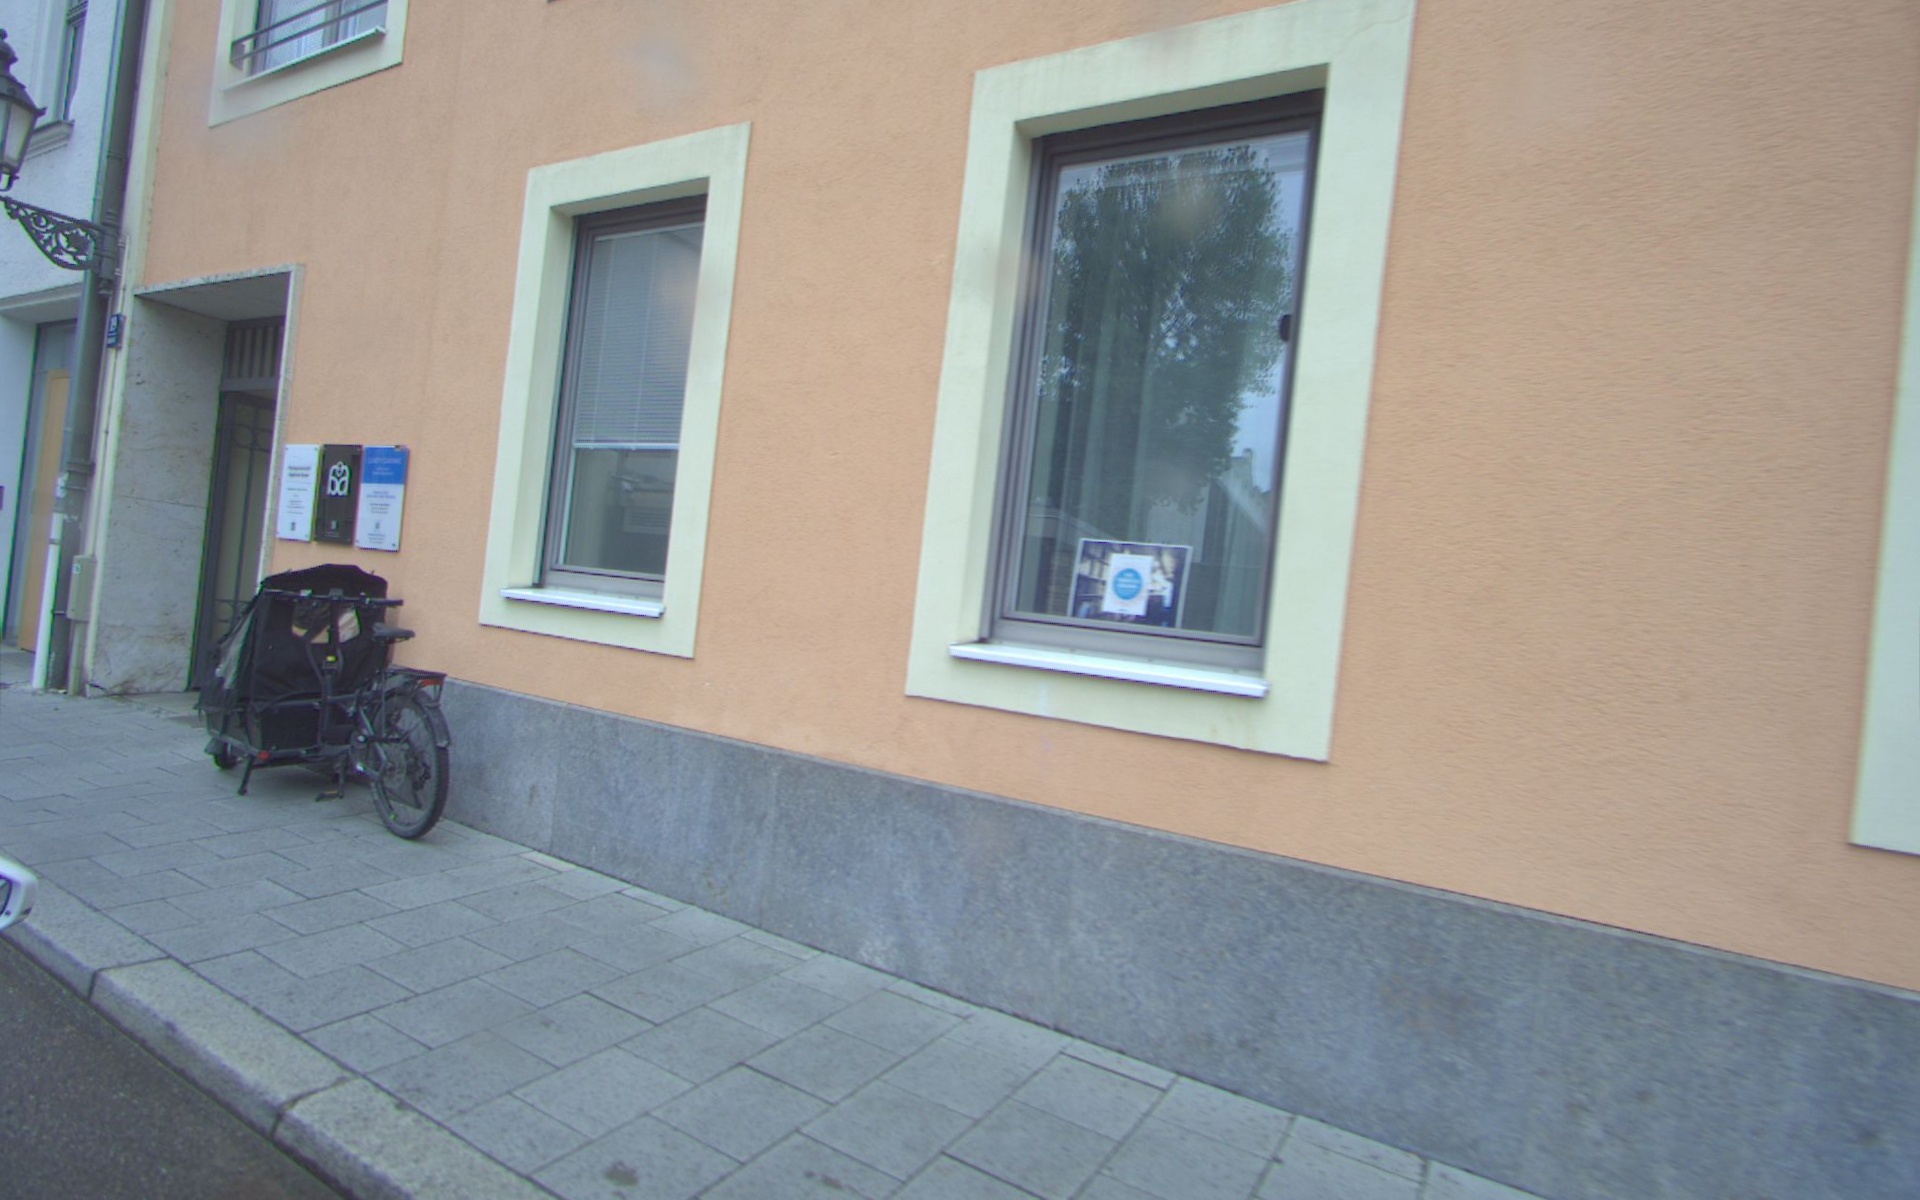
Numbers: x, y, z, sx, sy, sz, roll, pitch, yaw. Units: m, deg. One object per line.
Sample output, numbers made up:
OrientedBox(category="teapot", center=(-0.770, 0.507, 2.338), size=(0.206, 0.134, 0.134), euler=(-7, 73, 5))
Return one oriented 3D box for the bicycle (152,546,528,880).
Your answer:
OrientedBox(category="bicycle", center=(-3.246, 0.449, 5.146), size=(2.343, 1.257, 0.679), euler=(7, 4, 33))
